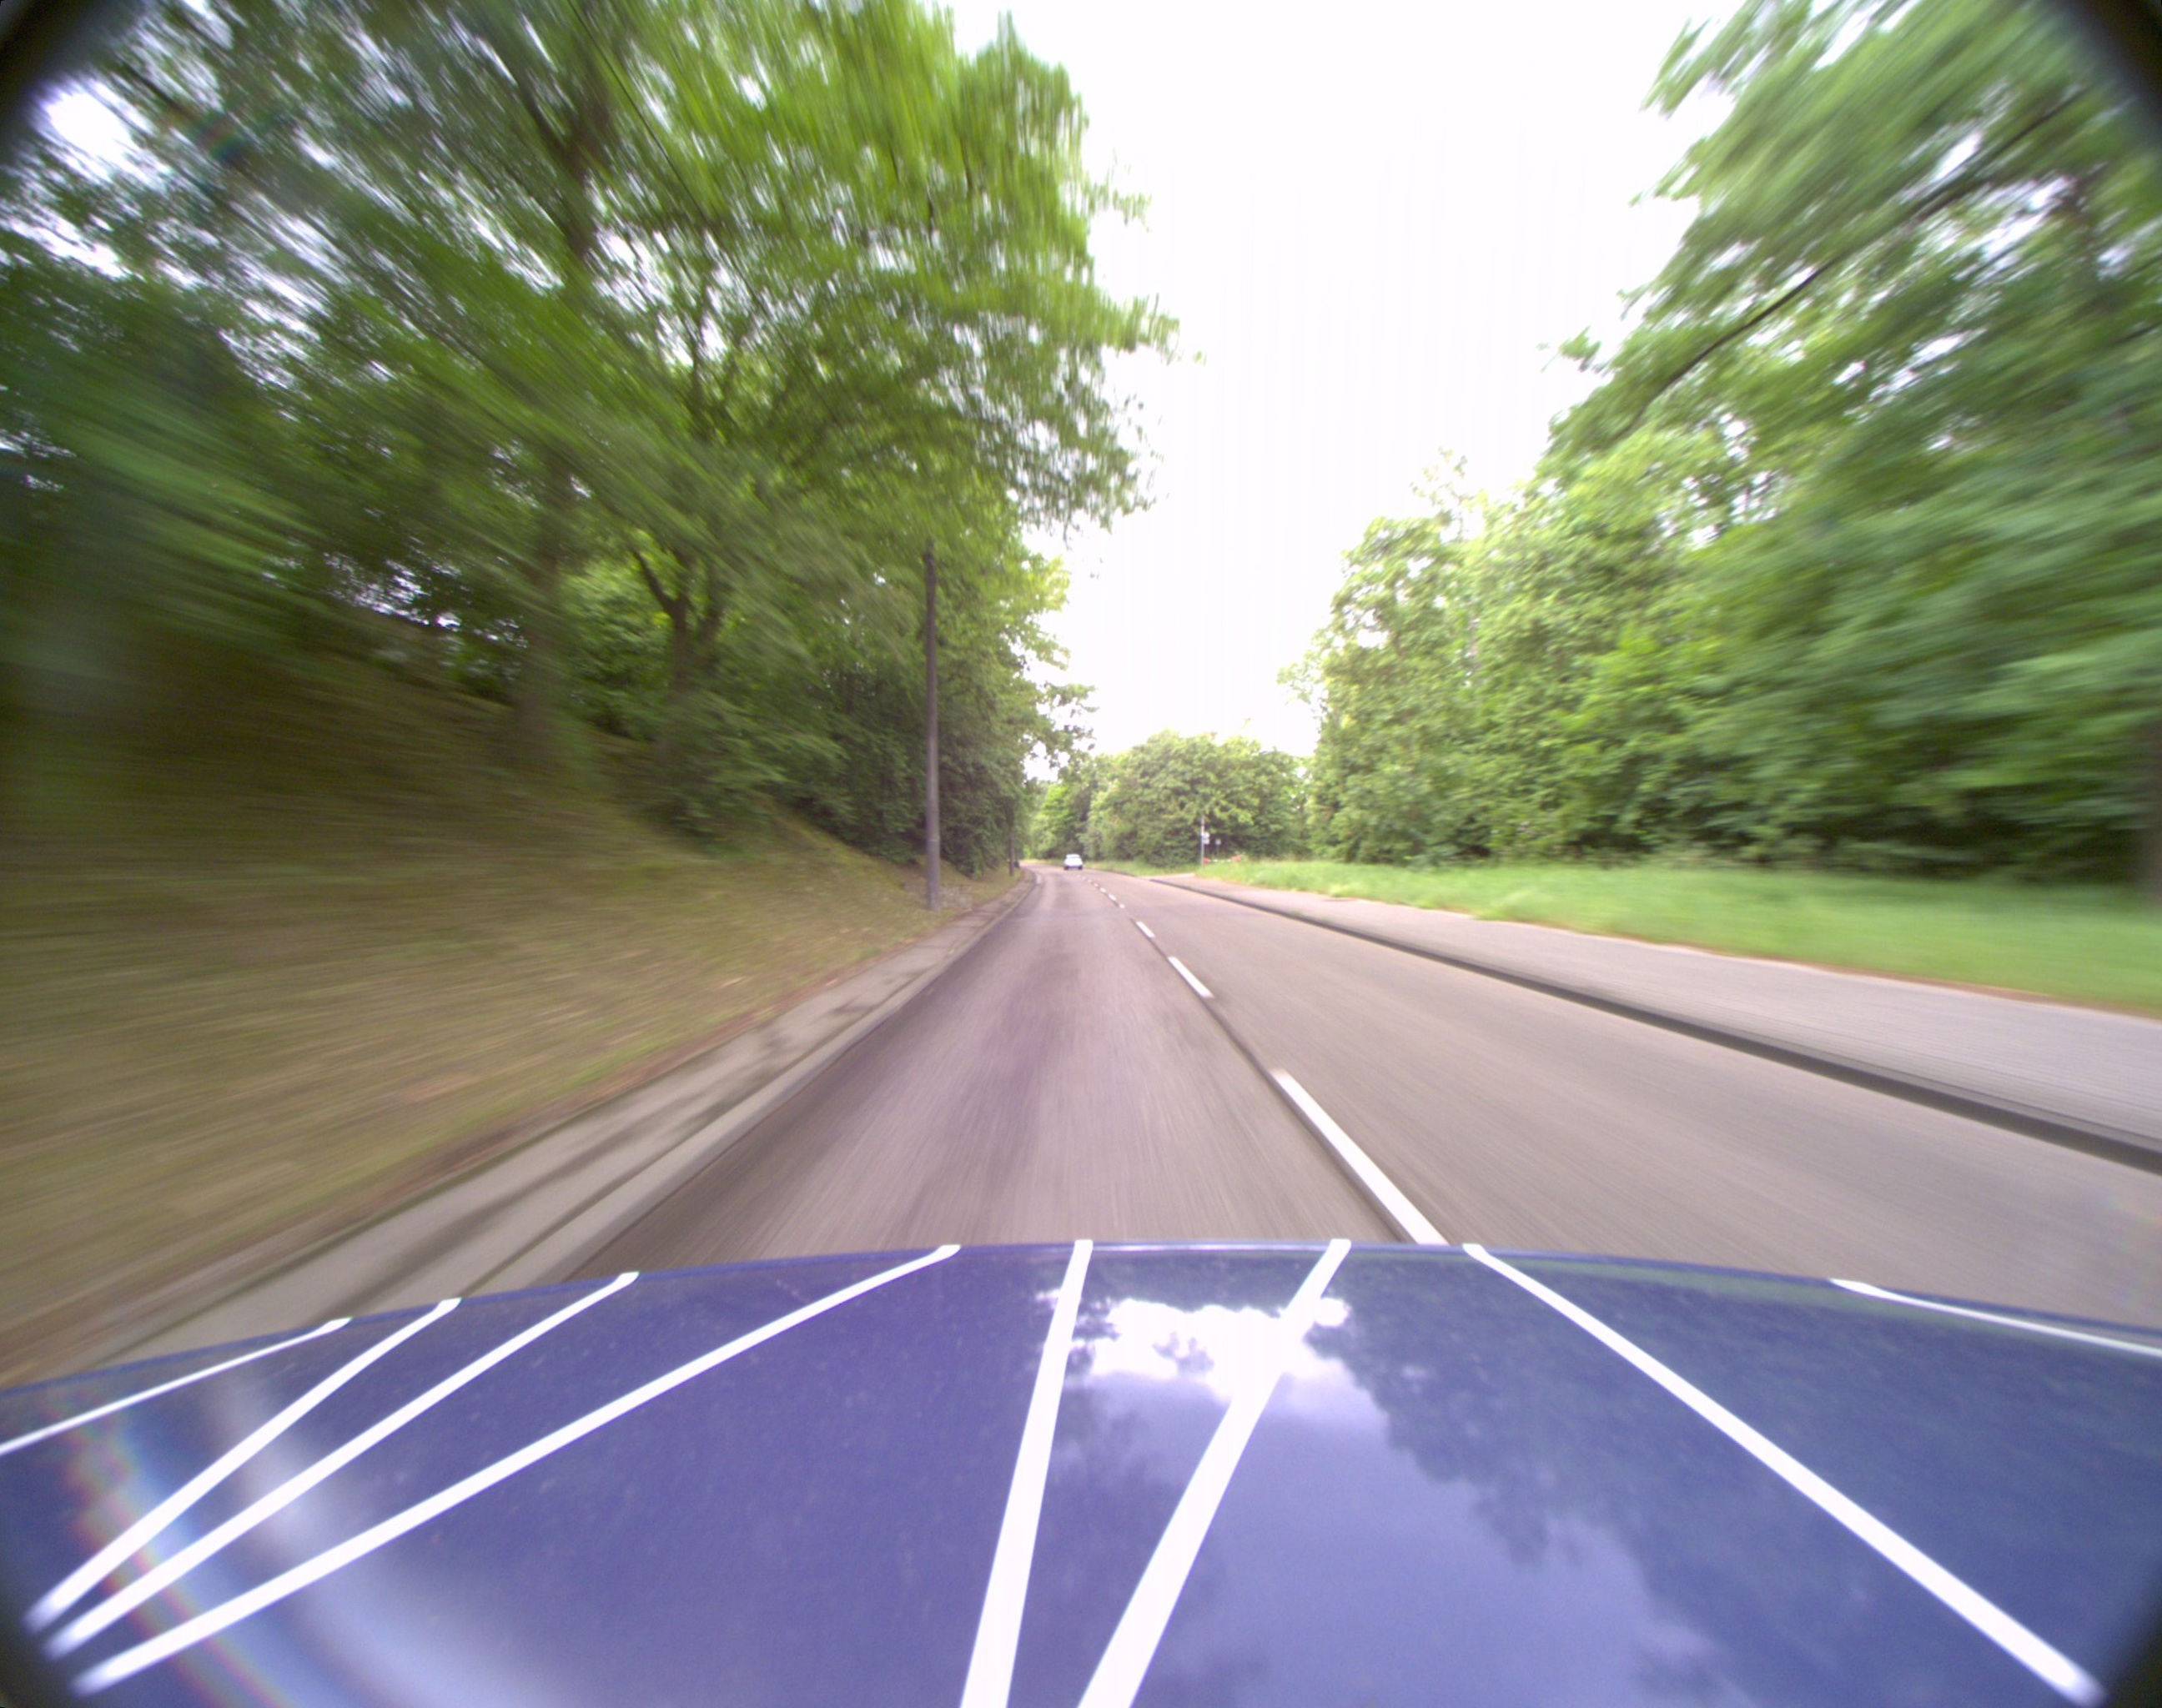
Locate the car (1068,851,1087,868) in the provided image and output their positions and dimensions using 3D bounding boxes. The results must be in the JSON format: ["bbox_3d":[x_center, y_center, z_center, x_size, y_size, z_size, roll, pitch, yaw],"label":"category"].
[{"bbox_3d":[-0.399,0.598,84.688,1.999,1.743,4.780,-2,1,-1],"label":"car"}]
